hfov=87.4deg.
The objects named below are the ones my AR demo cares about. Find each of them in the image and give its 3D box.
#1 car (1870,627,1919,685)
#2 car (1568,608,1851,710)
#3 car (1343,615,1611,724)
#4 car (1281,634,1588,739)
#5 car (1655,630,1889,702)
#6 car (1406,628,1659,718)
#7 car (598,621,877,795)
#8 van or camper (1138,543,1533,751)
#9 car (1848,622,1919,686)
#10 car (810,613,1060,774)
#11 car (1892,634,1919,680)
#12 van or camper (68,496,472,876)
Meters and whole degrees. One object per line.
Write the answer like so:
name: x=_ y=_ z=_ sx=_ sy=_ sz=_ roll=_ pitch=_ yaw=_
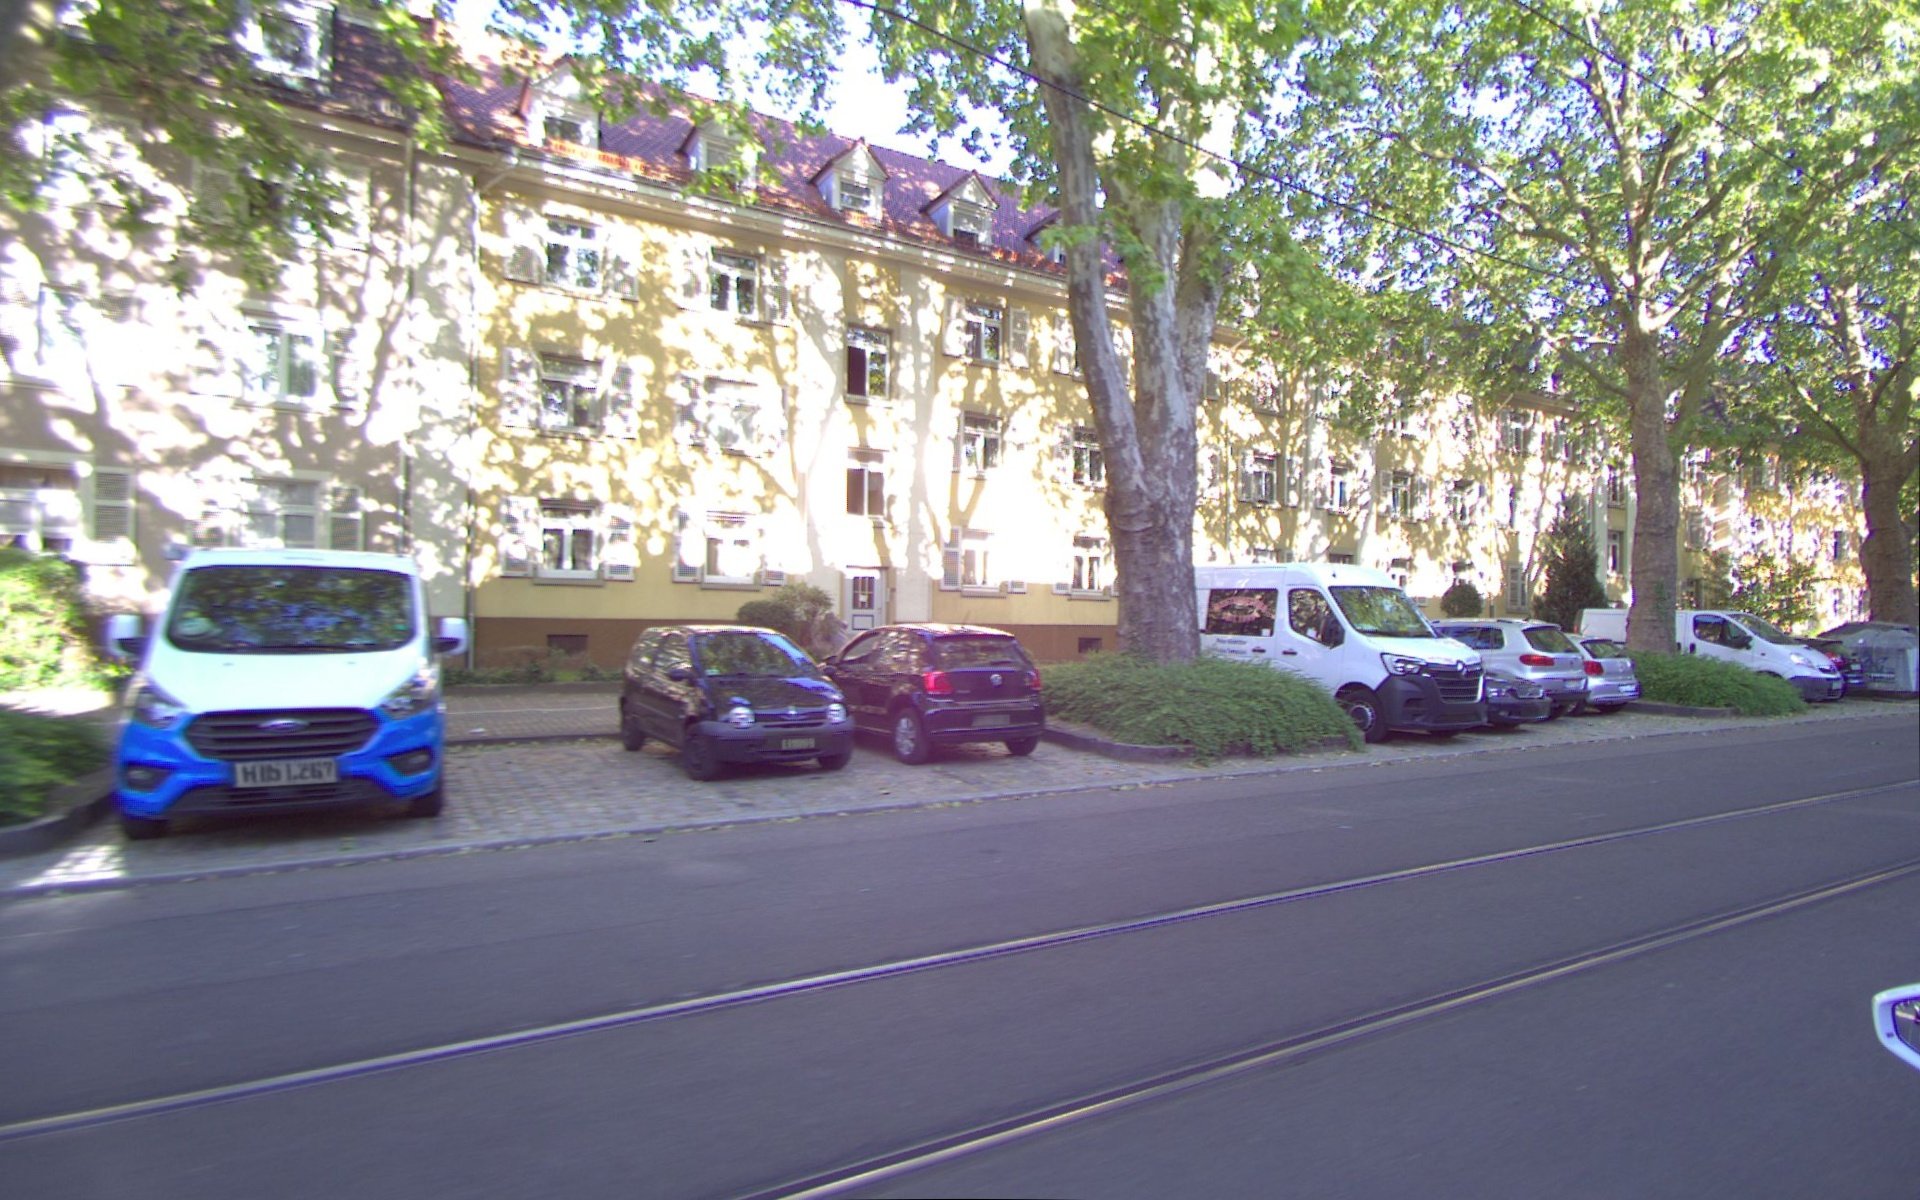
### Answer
car: x=29.648 y=1.643 z=29.298 sx=1.905 sy=1.710 sz=4.226 roll=1 pitch=-2 yaw=-22
car: x=16.256 y=1.176 z=22.054 sx=1.940 sy=1.971 sz=4.631 roll=1 pitch=-1 yaw=-32
car: x=8.933 y=1.147 z=17.679 sx=1.840 sy=1.685 sz=3.831 roll=1 pitch=-2 yaw=-29
car: x=7.366 y=1.260 z=16.065 sx=1.732 sy=1.417 sz=4.246 roll=1 pitch=-2 yaw=-29
car: x=18.733 y=1.461 z=23.354 sx=1.840 sy=1.517 sz=3.831 roll=1 pitch=-2 yaw=-29
car: x=10.761 y=1.303 z=19.157 sx=1.840 sy=1.517 sz=3.831 roll=1 pitch=-2 yaw=-29
car: x=-2.513 y=1.000 z=10.771 sx=1.680 sy=1.479 sz=3.505 roll=1 pitch=-1 yaw=-36
van or camper: x=5.364 y=0.612 z=15.272 sx=2.415 sy=2.549 sz=5.366 roll=1 pitch=-1 yaw=-29
car: x=27.774 y=1.537 z=28.027 sx=1.718 sy=1.781 sz=4.181 roll=1 pitch=-1 yaw=-28
car: x=-0.460 y=0.977 z=12.062 sx=1.592 sy=1.586 sz=3.669 roll=1 pitch=-1 yaw=-27
car: x=32.758 y=1.859 z=32.203 sx=1.840 sy=1.517 sz=3.831 roll=1 pitch=-2 yaw=-29
van or camper: x=-5.543 y=0.531 z=8.486 sx=2.095 sy=2.219 sz=4.794 roll=1 pitch=-1 yaw=-31
